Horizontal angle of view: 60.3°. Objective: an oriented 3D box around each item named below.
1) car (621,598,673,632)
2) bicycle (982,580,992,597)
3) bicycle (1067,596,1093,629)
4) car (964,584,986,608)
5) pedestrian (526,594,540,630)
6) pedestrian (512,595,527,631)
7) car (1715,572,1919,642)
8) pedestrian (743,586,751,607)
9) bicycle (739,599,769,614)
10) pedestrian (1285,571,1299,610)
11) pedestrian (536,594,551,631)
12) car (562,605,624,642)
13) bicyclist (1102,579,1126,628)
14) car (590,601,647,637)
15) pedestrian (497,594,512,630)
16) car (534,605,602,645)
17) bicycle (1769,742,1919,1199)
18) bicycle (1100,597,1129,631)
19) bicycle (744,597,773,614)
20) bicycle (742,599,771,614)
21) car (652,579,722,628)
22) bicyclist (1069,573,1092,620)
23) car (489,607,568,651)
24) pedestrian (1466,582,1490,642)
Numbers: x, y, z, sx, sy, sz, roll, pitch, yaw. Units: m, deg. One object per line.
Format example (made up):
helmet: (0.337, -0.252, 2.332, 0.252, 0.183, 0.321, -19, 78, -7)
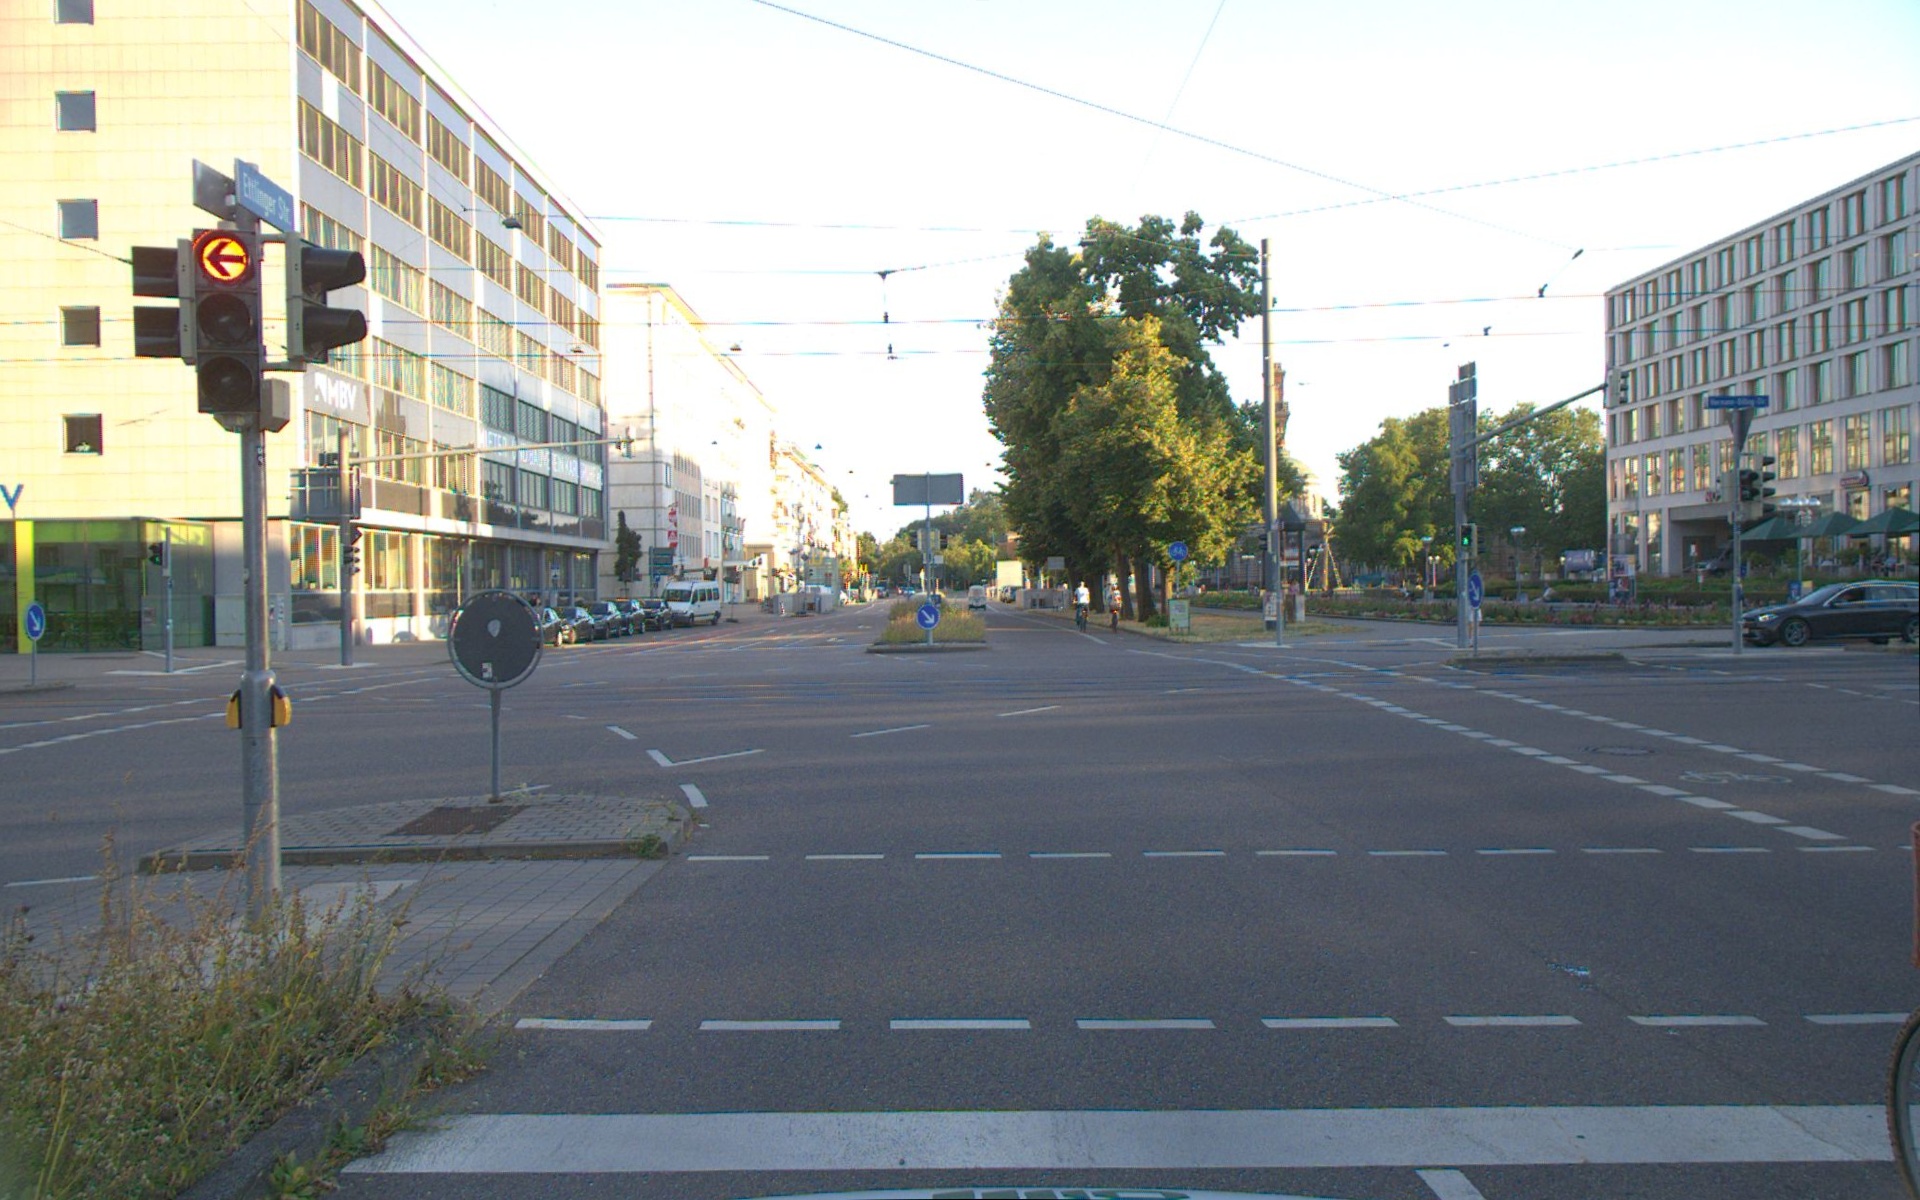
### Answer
car: (-15.966, 0.746, 84.516, 1.882, 1.595, 3.999, -1, 0, -1)
bicycle: (3.412, -1.432, 208.039, 0.981, 2.049, 4.002, 1, 0, 4)
bicycle: (4.408, 0.455, 60.832, 0.731, 1.164, 2.505, -1, 0, -1)
car: (1.084, -0.303, 121.775, 1.379, 1.670, 3.998, -1, 0, -2)
pedestrian: (-20.178, 0.556, 78.198, 0.490, 1.708, 0.500, -1, 0, -1)
pedestrian: (-20.661, 0.604, 77.605, 0.540, 1.708, 0.500, -1, 0, -1)
car: (21.077, 0.144, 39.979, 4.724, 1.542, 2.000, -1, 0, 1)
pedestrian: (-21.196, -0.351, 164.602, 0.666, 2.049, 0.545, -2, 0, -1)
bicycle: (-15.599, 0.485, 125.225, 2.161, 1.131, 0.618, -1, 0, -3)
pedestrian: (14.381, -0.404, 71.551, 0.451, 1.685, 0.566, -1, 0, -1)
pedestrian: (-19.551, 0.584, 77.569, 0.540, 1.708, 0.500, -1, 0, -1)
car: (-16.143, 1.024, 72.981, 1.882, 1.489, 3.999, -1, 0, -1)
bicyclist: (5.488, 0.136, 59.039, 0.731, 1.720, 0.799, -1, 0, -1)
car: (-16.139, 0.893, 78.285, 1.882, 1.595, 3.999, -1, 0, -1)
pedestrian: (-21.362, 0.558, 77.546, 0.540, 1.708, 0.500, -1, 0, -1)
car: (-16.123, 1.003, 68.167, 1.882, 1.489, 3.999, -1, 0, -1)
bicycle: (2.184, 0.911, 2.822, 0.599, 1.152, 2.004, 1, 0, -1)
bicycle: (5.499, 0.472, 59.034, 0.731, 1.164, 2.505, -1, 0, -1)
bicycle: (-15.672, 0.436, 128.630, 2.161, 1.258, 0.839, -1, 0, -2)
bicycle: (-15.589, 0.486, 126.841, 2.161, 1.131, 0.689, -1, 0, -3)
car: (-14.948, 0.159, 90.992, 1.958, 2.521, 5.873, -1, 0, 9)
bicyclist: (4.402, -0.142, 60.623, 0.731, 1.692, 0.873, -1, 0, -1)
car: (-16.013, 1.043, 61.620, 1.882, 1.489, 4.102, -1, 0, -1)
pedestrian: (13.708, 0.311, 43.800, 0.480, 1.566, 0.408, -1, 0, -1)
